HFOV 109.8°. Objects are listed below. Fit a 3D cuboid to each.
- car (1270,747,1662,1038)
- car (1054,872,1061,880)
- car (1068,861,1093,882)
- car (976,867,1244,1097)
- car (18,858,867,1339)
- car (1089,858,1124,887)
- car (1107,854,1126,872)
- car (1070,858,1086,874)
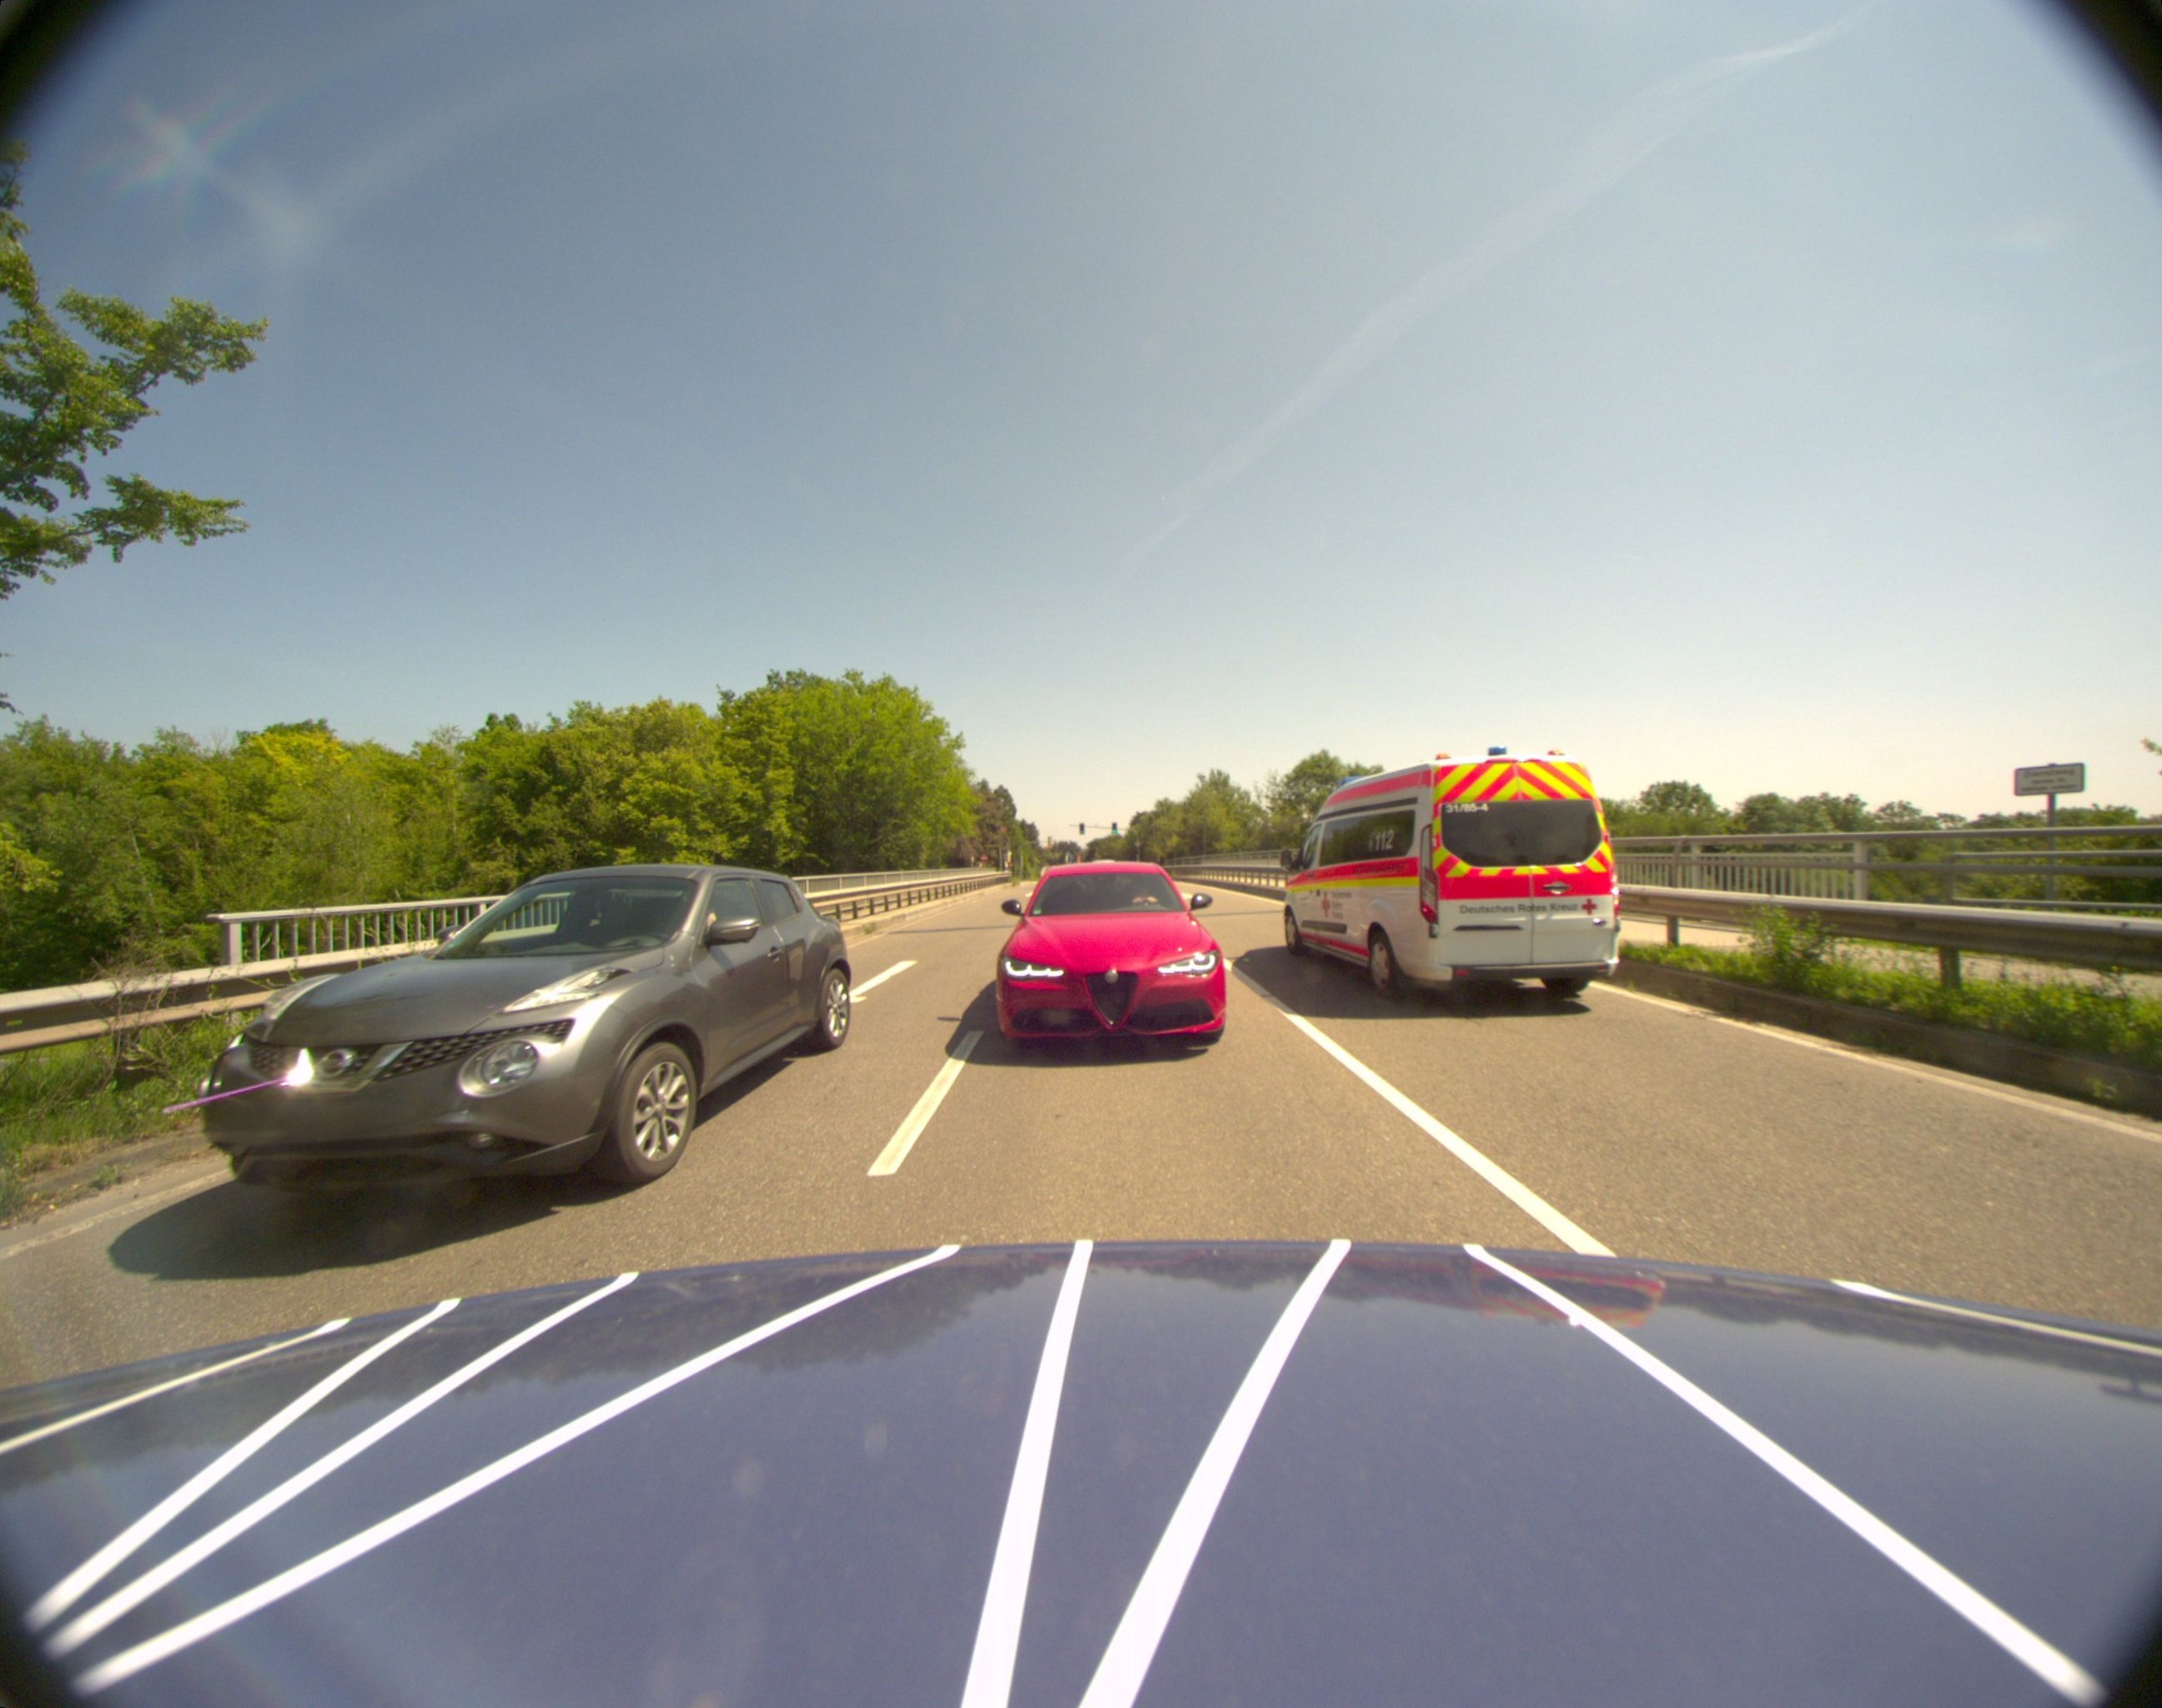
[{"bbox_3d":[3.862,0.314,8.941,1.995,2.354,5.181,-2,0,1],"label":"car"},{"bbox_3d":[-5.077,4.752,163.993,1.416,1.499,3.316,-1,1,0],"label":"car"},{"bbox_3d":[0.021,1.194,53.111,1.647,1.373,3.938,-2,0,1],"label":"car"},{"bbox_3d":[0.234,0.920,7.363,1.800,1.448,4.285,-2,0,1],"label":"car"},{"bbox_3d":[-2.883,0.908,4.764,1.848,1.675,4.000,-2,0,1],"label":"car"},{"bbox_3d":[1.379,0.974,41.203,1.800,1.448,3.706,-2,0,2],"label":"car"},{"bbox_3d":[3.808,0.940,81.459,1.848,1.758,4.000,-2,0,1],"label":"car"},{"bbox_3d":[-0.349,1.314,84.939,1.633,1.667,3.489,-2,1,1],"label":"car"}]
